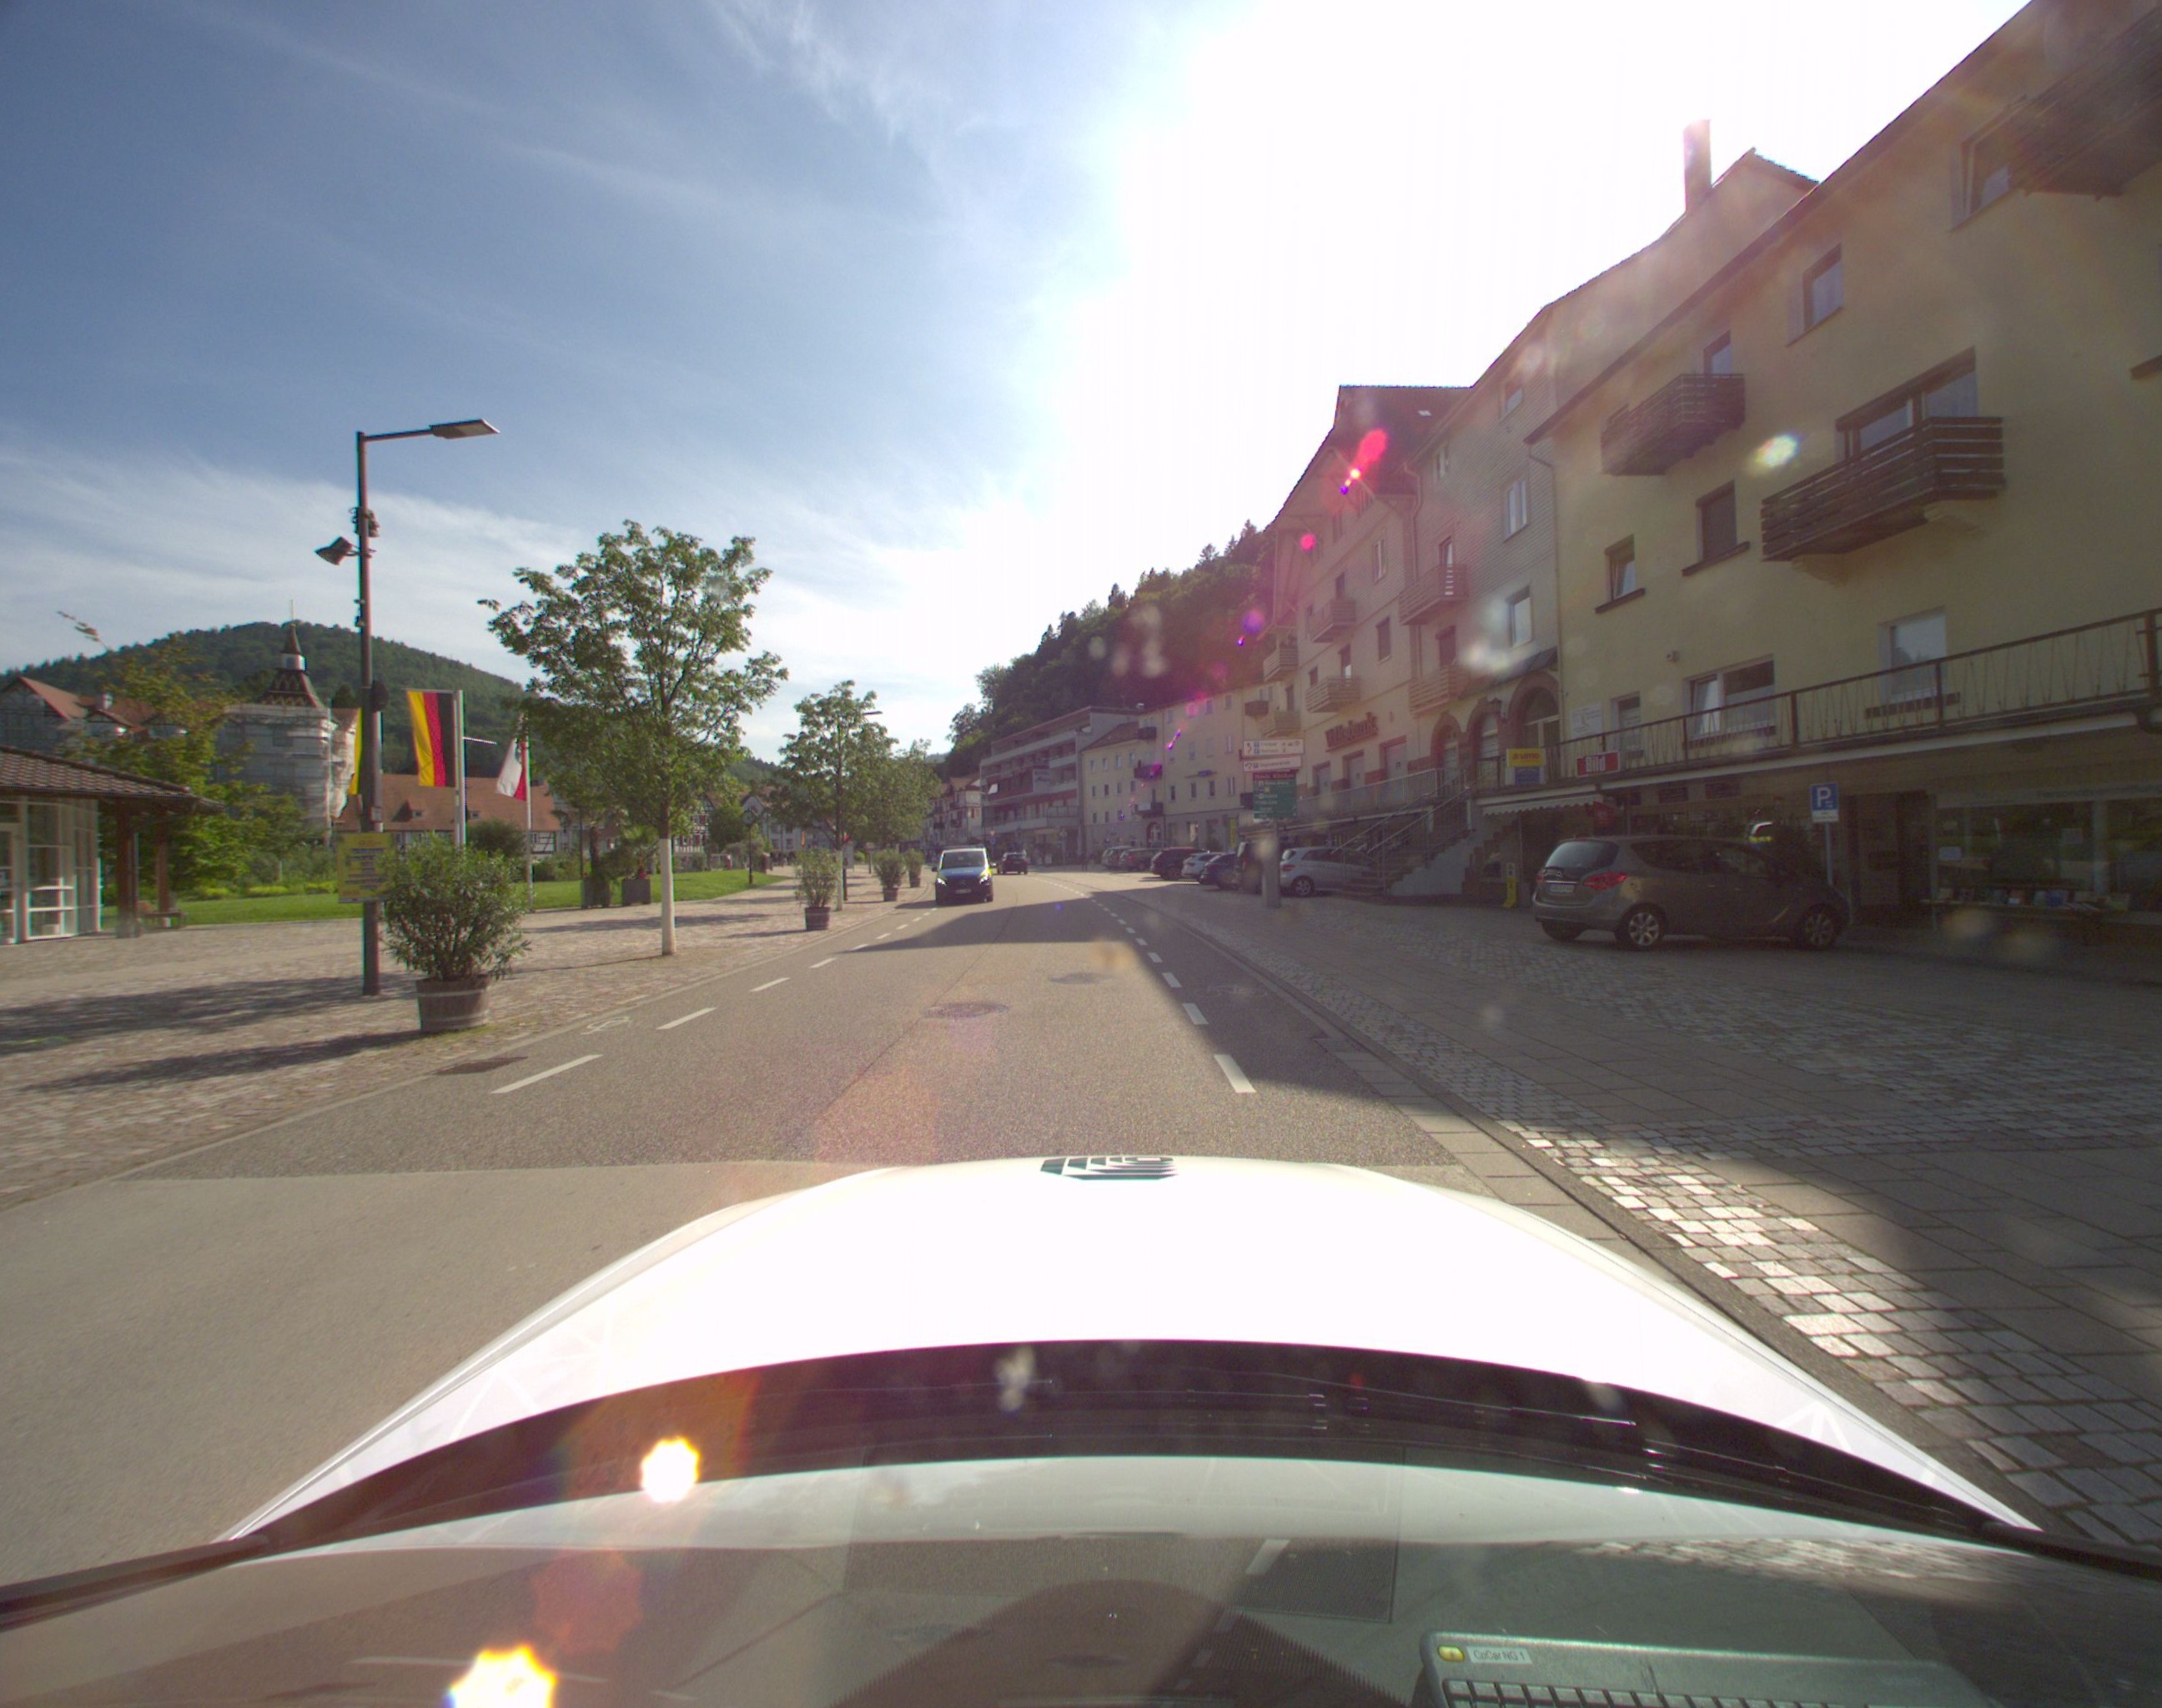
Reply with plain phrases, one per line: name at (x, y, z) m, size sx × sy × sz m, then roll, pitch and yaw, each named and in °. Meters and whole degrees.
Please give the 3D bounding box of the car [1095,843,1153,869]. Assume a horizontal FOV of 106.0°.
car at (3.160, 0.156, 60.198) m, size 3.878 × 1.612 × 1.759 m, roll -4°, pitch 2°, yaw -23°

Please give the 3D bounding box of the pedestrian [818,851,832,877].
pedestrian at (-18.161, 0.728, 57.850) m, size 0.870 × 1.815 × 0.686 m, roll -1°, pitch 0°, yaw -24°

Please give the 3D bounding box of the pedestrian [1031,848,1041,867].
pedestrian at (-4.071, 0.295, 73.450) m, size 0.672 × 1.728 × 0.702 m, roll -1°, pitch 0°, yaw -25°

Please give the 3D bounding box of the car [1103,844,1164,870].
car at (3.731, 0.188, 57.683) m, size 3.878 × 1.549 × 1.759 m, roll -4°, pitch 2°, yaw -23°

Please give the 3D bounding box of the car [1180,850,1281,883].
car at (6.841, 0.594, 37.585) m, size 4.342 × 1.461 × 1.772 m, roll 0°, pitch -2°, yaw 0°

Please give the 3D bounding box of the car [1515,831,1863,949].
car at (8.615, 0.497, 11.743) m, size 3.853 × 1.555 × 1.758 m, roll 1°, pitch 0°, yaw -5°

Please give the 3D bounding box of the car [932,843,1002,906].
car at (-3.955, 0.673, 29.053) m, size 1.850 × 1.953 × 5.013 m, roll -3°, pitch 0°, yaw -2°

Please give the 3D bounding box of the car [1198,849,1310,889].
car at (6.542, 0.567, 31.051) m, size 3.899 × 1.461 × 1.735 m, roll 1°, pitch 0°, yaw -2°

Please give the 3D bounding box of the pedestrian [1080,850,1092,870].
pedestrian at (0.380, 0.476, 60.702) m, size 0.735 × 1.442 × 0.630 m, roll -3°, pitch 0°, yaw -11°

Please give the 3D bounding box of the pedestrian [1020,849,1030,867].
pedestrian at (-5.051, 0.365, 73.598) m, size 0.761 × 1.594 × 0.623 m, roll -1°, pitch 0°, yaw -25°

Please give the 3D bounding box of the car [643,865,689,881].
car at (-44.588, 2.012, 87.448) m, size 4.199 × 1.616 × 1.672 m, roll -1°, pitch 0°, yaw -34°

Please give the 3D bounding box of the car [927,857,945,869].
car at (-21.958, 1.366, 123.179) m, size 1.685 × 1.620 × 3.965 m, roll -1°, pitch 0°, yaw -26°

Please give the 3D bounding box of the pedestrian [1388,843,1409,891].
pedestrian at (11.258, 0.472, 28.886) m, size 0.457 × 1.658 × 0.432 m, roll -3°, pitch -1°, yaw -20°

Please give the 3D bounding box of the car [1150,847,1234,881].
car at (5.751, 0.512, 42.513) m, size 4.073 × 1.666 × 1.771 m, roll 1°, pitch 0°, yaw -2°

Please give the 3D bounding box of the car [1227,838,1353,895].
car at (7.199, 0.437, 28.331) m, size 3.899 × 1.804 × 1.856 m, roll 1°, pitch -1°, yaw -2°

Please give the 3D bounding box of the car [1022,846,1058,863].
car at (-4.036, 0.043, 80.596) m, size 3.177 × 1.663 × 1.582 m, roll -1°, pitch 0°, yaw -23°

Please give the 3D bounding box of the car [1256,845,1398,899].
car at (7.649, 0.535, 25.561) m, size 3.899 × 1.589 × 1.773 m, roll 1°, pitch 0°, yaw -2°

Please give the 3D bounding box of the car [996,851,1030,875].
car at (-4.954, 0.615, 59.070) m, size 1.731 × 1.574 × 3.731 m, roll -1°, pitch 1°, yaw -17°

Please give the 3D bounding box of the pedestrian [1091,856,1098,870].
pedestrian at (1.030, 0.637, 60.764) m, size 0.415 × 1.002 × 0.532 m, roll -3°, pitch 0°, yaw 8°

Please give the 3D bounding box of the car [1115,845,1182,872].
car at (4.512, 0.268, 54.364) m, size 4.027 × 1.516 × 1.759 m, roll -4°, pitch 2°, yaw -23°
